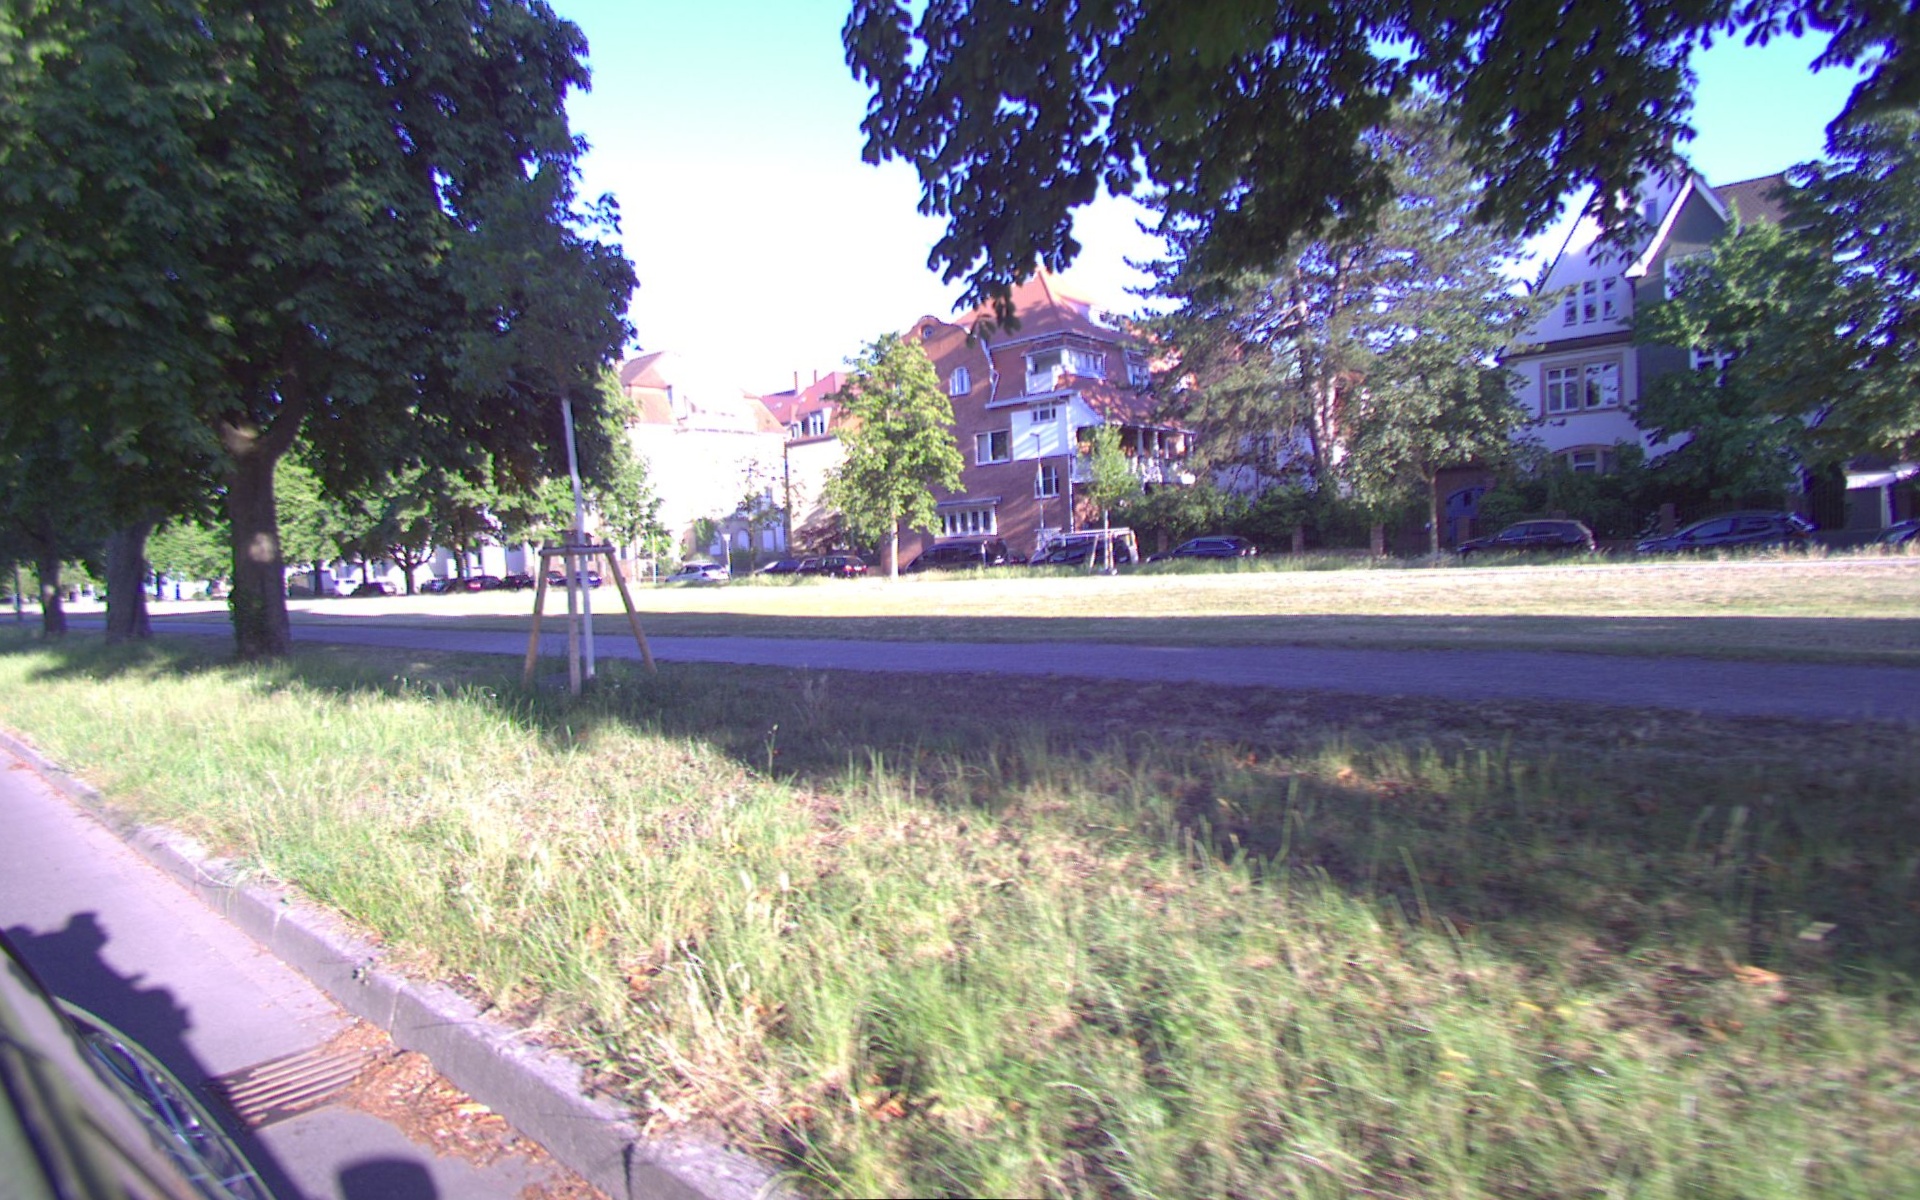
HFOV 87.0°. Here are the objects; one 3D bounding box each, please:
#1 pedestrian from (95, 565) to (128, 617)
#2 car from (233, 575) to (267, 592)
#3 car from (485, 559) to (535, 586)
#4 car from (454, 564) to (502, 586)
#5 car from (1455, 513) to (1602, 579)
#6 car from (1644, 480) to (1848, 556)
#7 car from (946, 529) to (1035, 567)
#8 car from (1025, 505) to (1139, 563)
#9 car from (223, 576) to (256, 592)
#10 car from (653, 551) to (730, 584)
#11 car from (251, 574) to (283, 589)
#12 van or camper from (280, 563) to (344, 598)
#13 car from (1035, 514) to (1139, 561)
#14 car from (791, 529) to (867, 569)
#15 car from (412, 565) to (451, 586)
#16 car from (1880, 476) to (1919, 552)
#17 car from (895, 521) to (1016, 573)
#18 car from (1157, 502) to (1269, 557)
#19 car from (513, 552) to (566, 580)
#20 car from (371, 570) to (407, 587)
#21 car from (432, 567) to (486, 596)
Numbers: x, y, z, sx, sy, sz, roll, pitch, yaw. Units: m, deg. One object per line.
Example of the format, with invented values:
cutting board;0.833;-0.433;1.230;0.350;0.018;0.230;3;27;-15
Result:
pedestrian;-29.581;-0.317;35.288;0.716;1.770;0.994;-6;4;-42
car;-80.271;-1.855;114.383;4.874;1.702;1.973;0;5;42
car;-37.651;-2.287;84.658;4.425;2.028;1.974;0;5;40
car;-42.108;-2.167;88.372;4.425;1.664;1.974;0;5;40
car;19.381;-1.818;34.579;1.971;2.028;4.003;-7;6;-44
car;20.211;-2.086;26.113;4.001;1.695;1.972;1;6;44
car;1.498;-2.590;50.599;4.304;1.635;1.739;-1;4;42
car;4.767;-2.579;39.790;3.999;2.028;1.973;0;5;42
car;-84.157;-1.895;118.216;4.874;1.702;1.973;0;5;42
car;-15.228;-1.806;57.252;4.648;1.651;1.801;0;5;41
car;-88.036;-2.364;128.599;4.870;1.702;1.975;0;5;39
van or camper;-64.948;-1.941;101.360;7.894;3.133;3.221;0;5;42
car;5.764;-2.841;46.142;4.407;1.851;1.798;-1;4;42
car;-7.468;-2.873;57.326;4.367;2.028;1.739;-1;4;42
car;-49.696;-2.270;95.168;4.000;1.747;1.973;0;5;43
car;23.537;-2.029;22.884;4.001;1.695;1.972;1;6;44
car;-0.272;-2.270;44.135;5.245;1.954;1.973;-1;4;42
car;10.504;-2.925;42.174;4.000;2.028;1.973;0;5;43
car;-33.804;-2.716;81.239;4.876;2.028;1.973;0;5;43
car;-59.138;-2.202;104.835;3.998;1.474;1.974;-1;4;41
car;-38.491;-1.381;77.700;4.876;2.028;1.973;0;5;43
